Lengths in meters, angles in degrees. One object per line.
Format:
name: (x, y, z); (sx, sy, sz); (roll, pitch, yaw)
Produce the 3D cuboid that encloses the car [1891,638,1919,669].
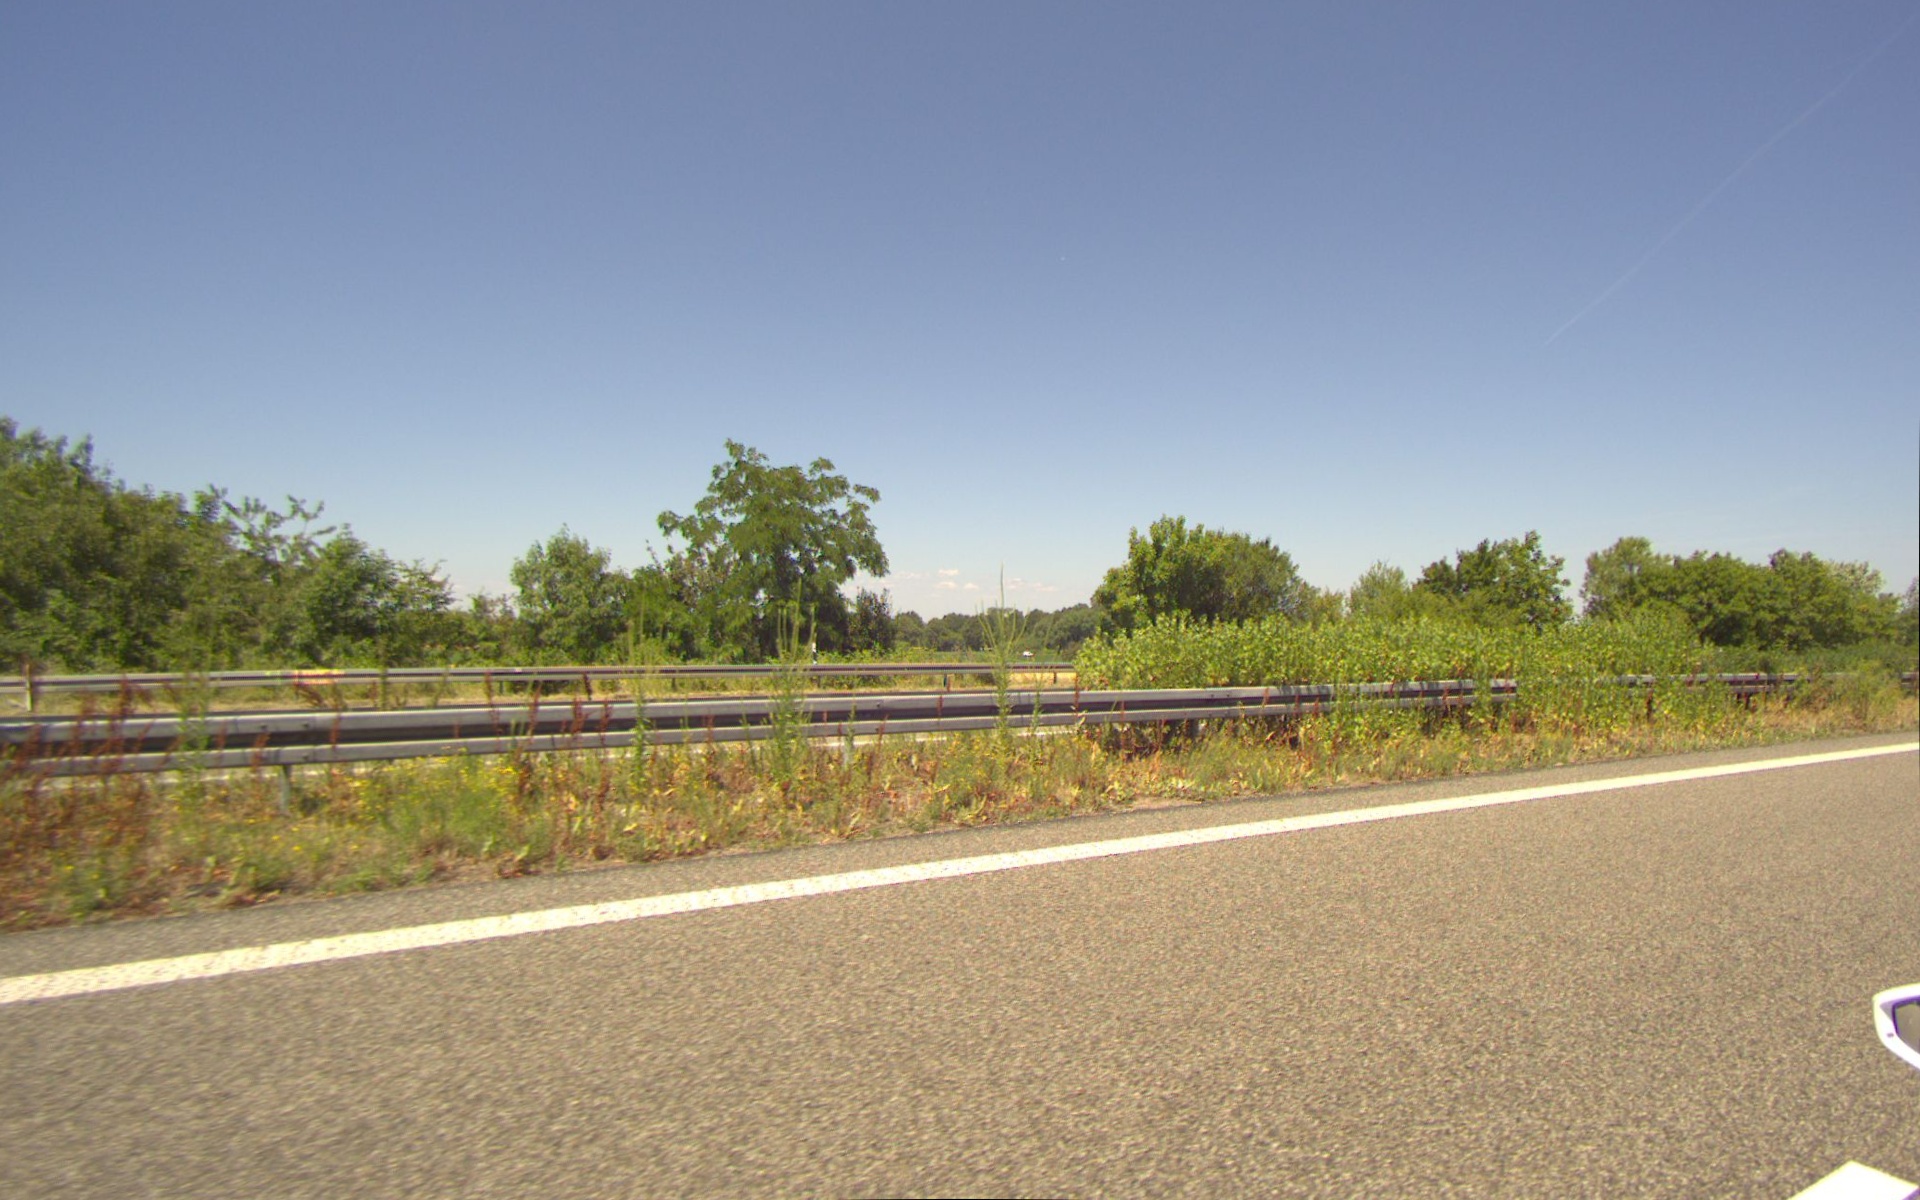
car: (55.624, 3.095, 57.684); (4.371, 1.694, 1.957); (2, 0, -31)
